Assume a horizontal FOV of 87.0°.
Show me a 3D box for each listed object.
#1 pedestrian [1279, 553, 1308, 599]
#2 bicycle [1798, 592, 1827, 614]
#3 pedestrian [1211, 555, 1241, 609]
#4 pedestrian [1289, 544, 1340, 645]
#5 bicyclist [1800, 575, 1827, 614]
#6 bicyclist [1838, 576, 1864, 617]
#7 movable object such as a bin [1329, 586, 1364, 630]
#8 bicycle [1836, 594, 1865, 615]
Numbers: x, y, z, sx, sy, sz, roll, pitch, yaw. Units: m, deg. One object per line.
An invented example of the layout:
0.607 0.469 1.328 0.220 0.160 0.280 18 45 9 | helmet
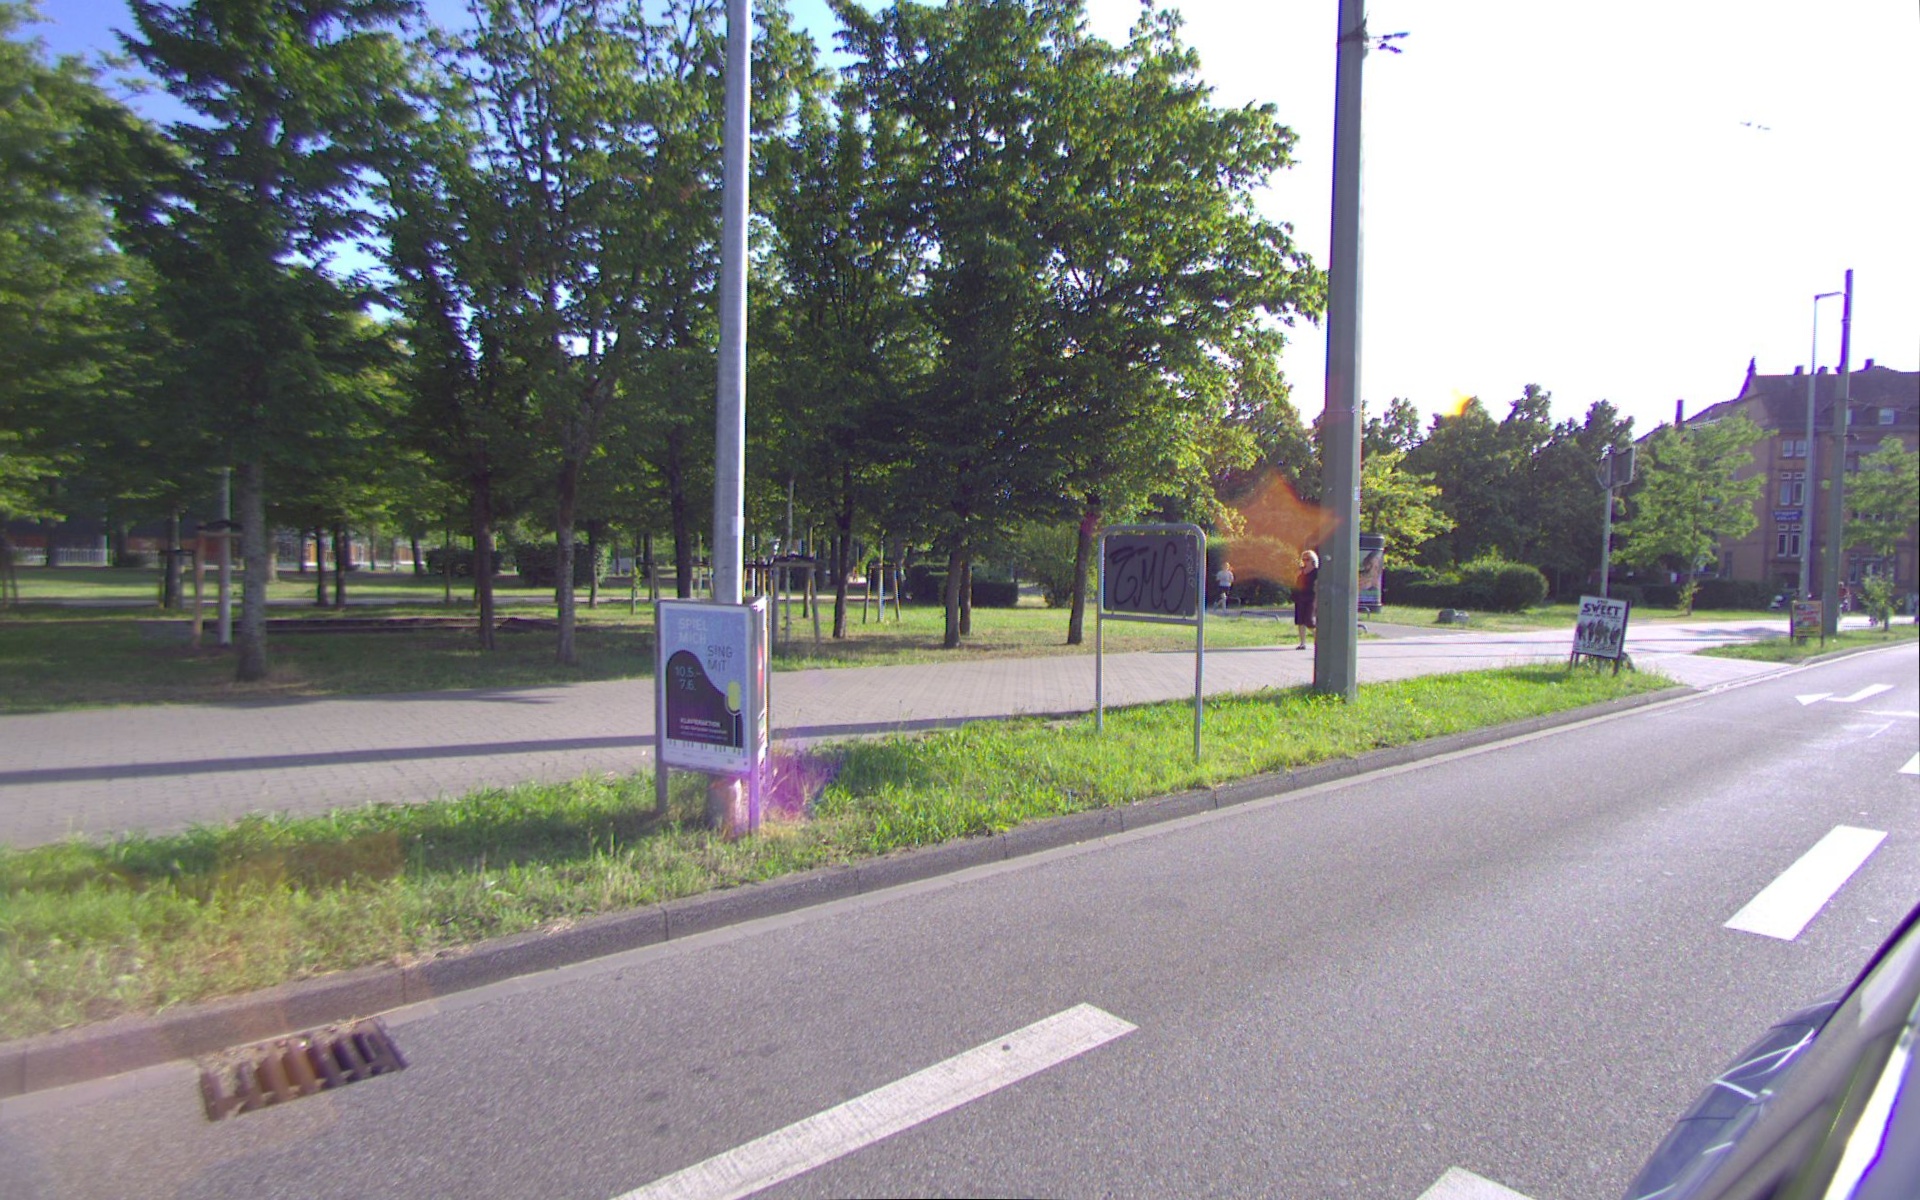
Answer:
16.059 -1.177 48.688 0.872 2.184 0.914 1 2 -28 | pedestrian
39.599 0.129 46.979 2.059 0.929 0.739 0 2 -42 | bicycle
8.380 -0.581 31.882 0.609 1.671 0.664 1 2 -16 | pedestrian
6.221 -0.107 17.747 0.651 1.722 0.558 0 2 -41 | pedestrian
39.650 -0.270 47.000 1.099 1.795 0.753 0 2 -42 | bicyclist
40.413 -0.170 45.906 0.998 1.795 0.730 0 2 -42 | bicyclist
8.205 0.167 21.503 0.514 0.915 0.504 1 2 -2 | movable object such as a bin
40.392 0.197 45.893 2.058 0.929 0.739 0 2 -42 | bicycle
